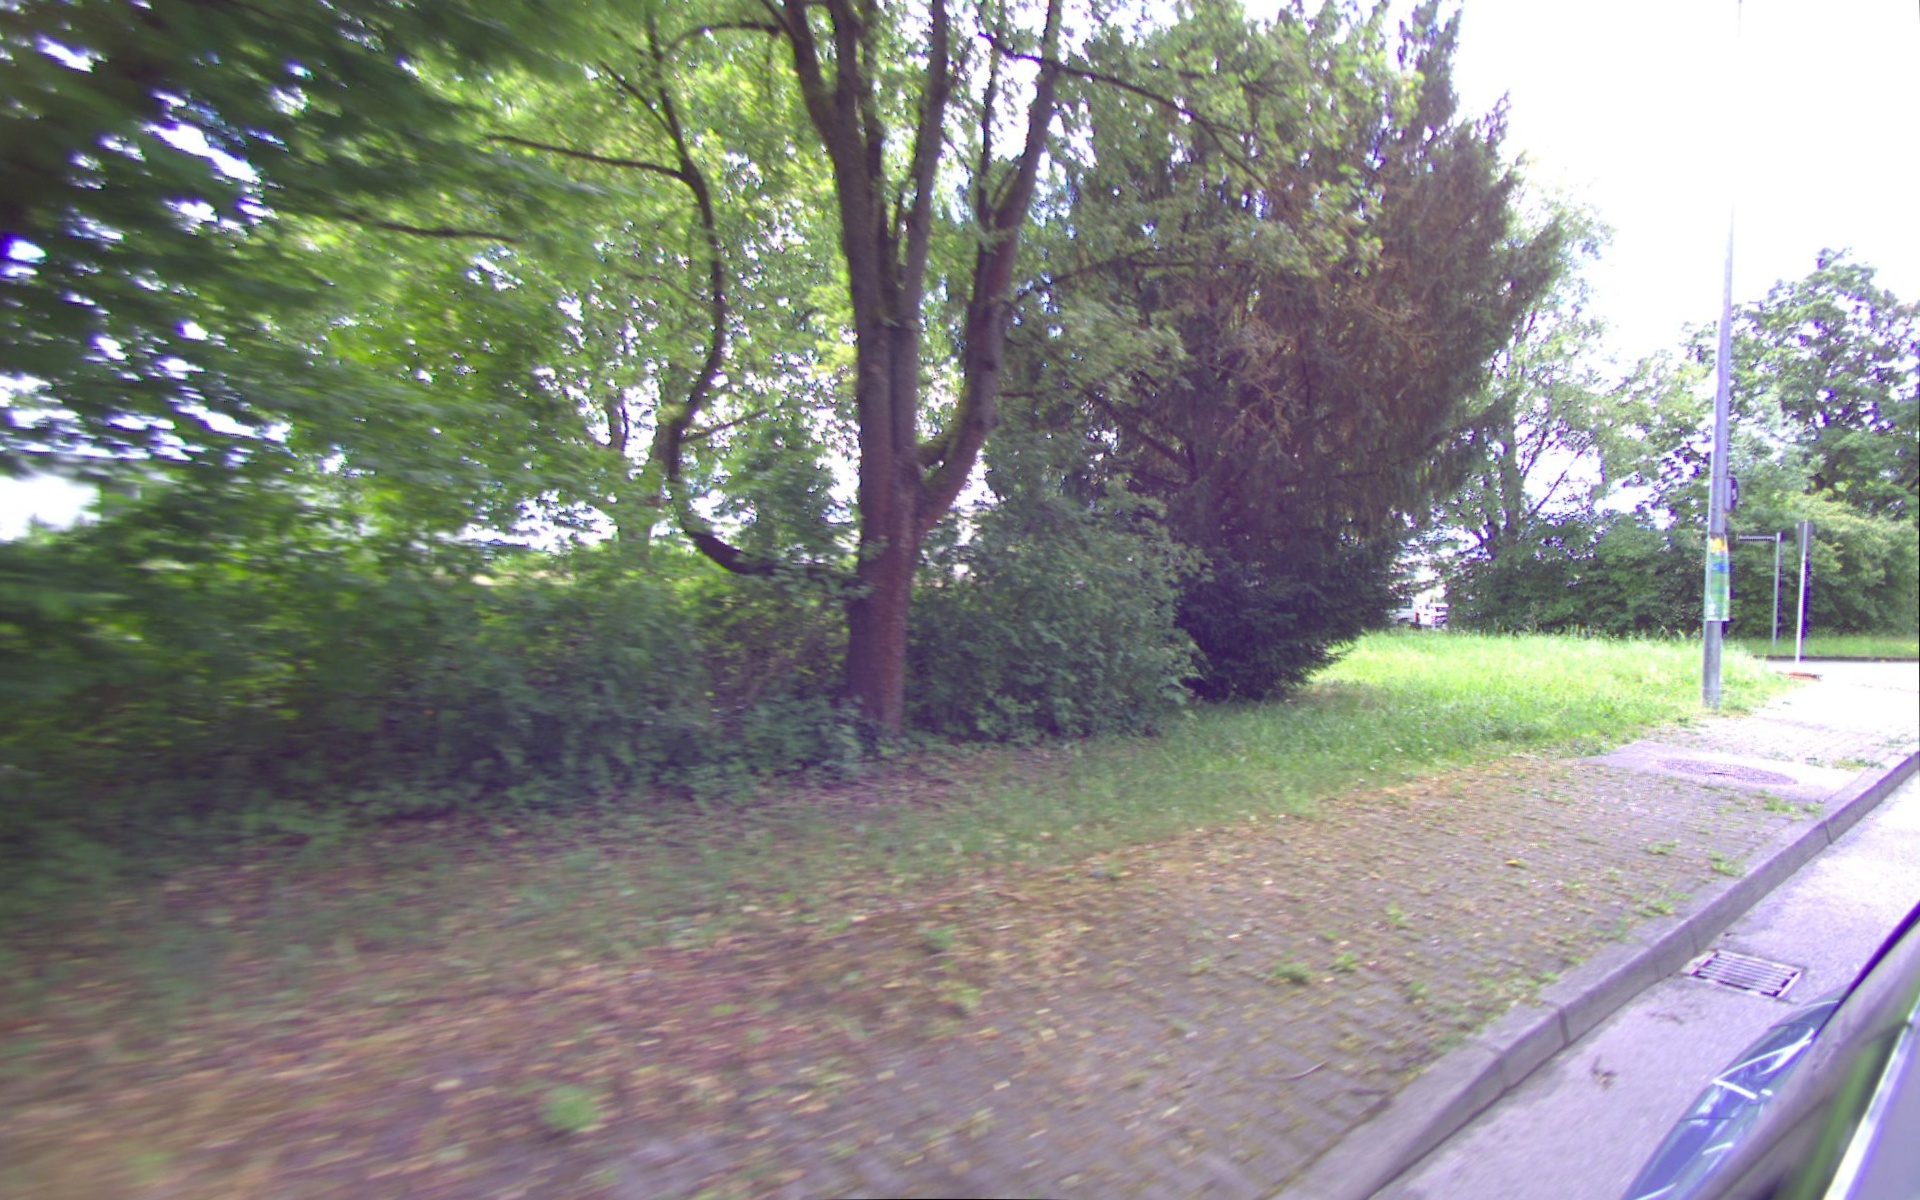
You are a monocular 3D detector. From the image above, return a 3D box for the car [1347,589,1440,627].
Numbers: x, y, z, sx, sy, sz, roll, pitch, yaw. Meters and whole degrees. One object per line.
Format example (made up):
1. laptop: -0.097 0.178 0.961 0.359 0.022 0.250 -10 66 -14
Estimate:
1. car: 25.679 0.443 60.050 1.964 2.038 4.657 1 2 -39
